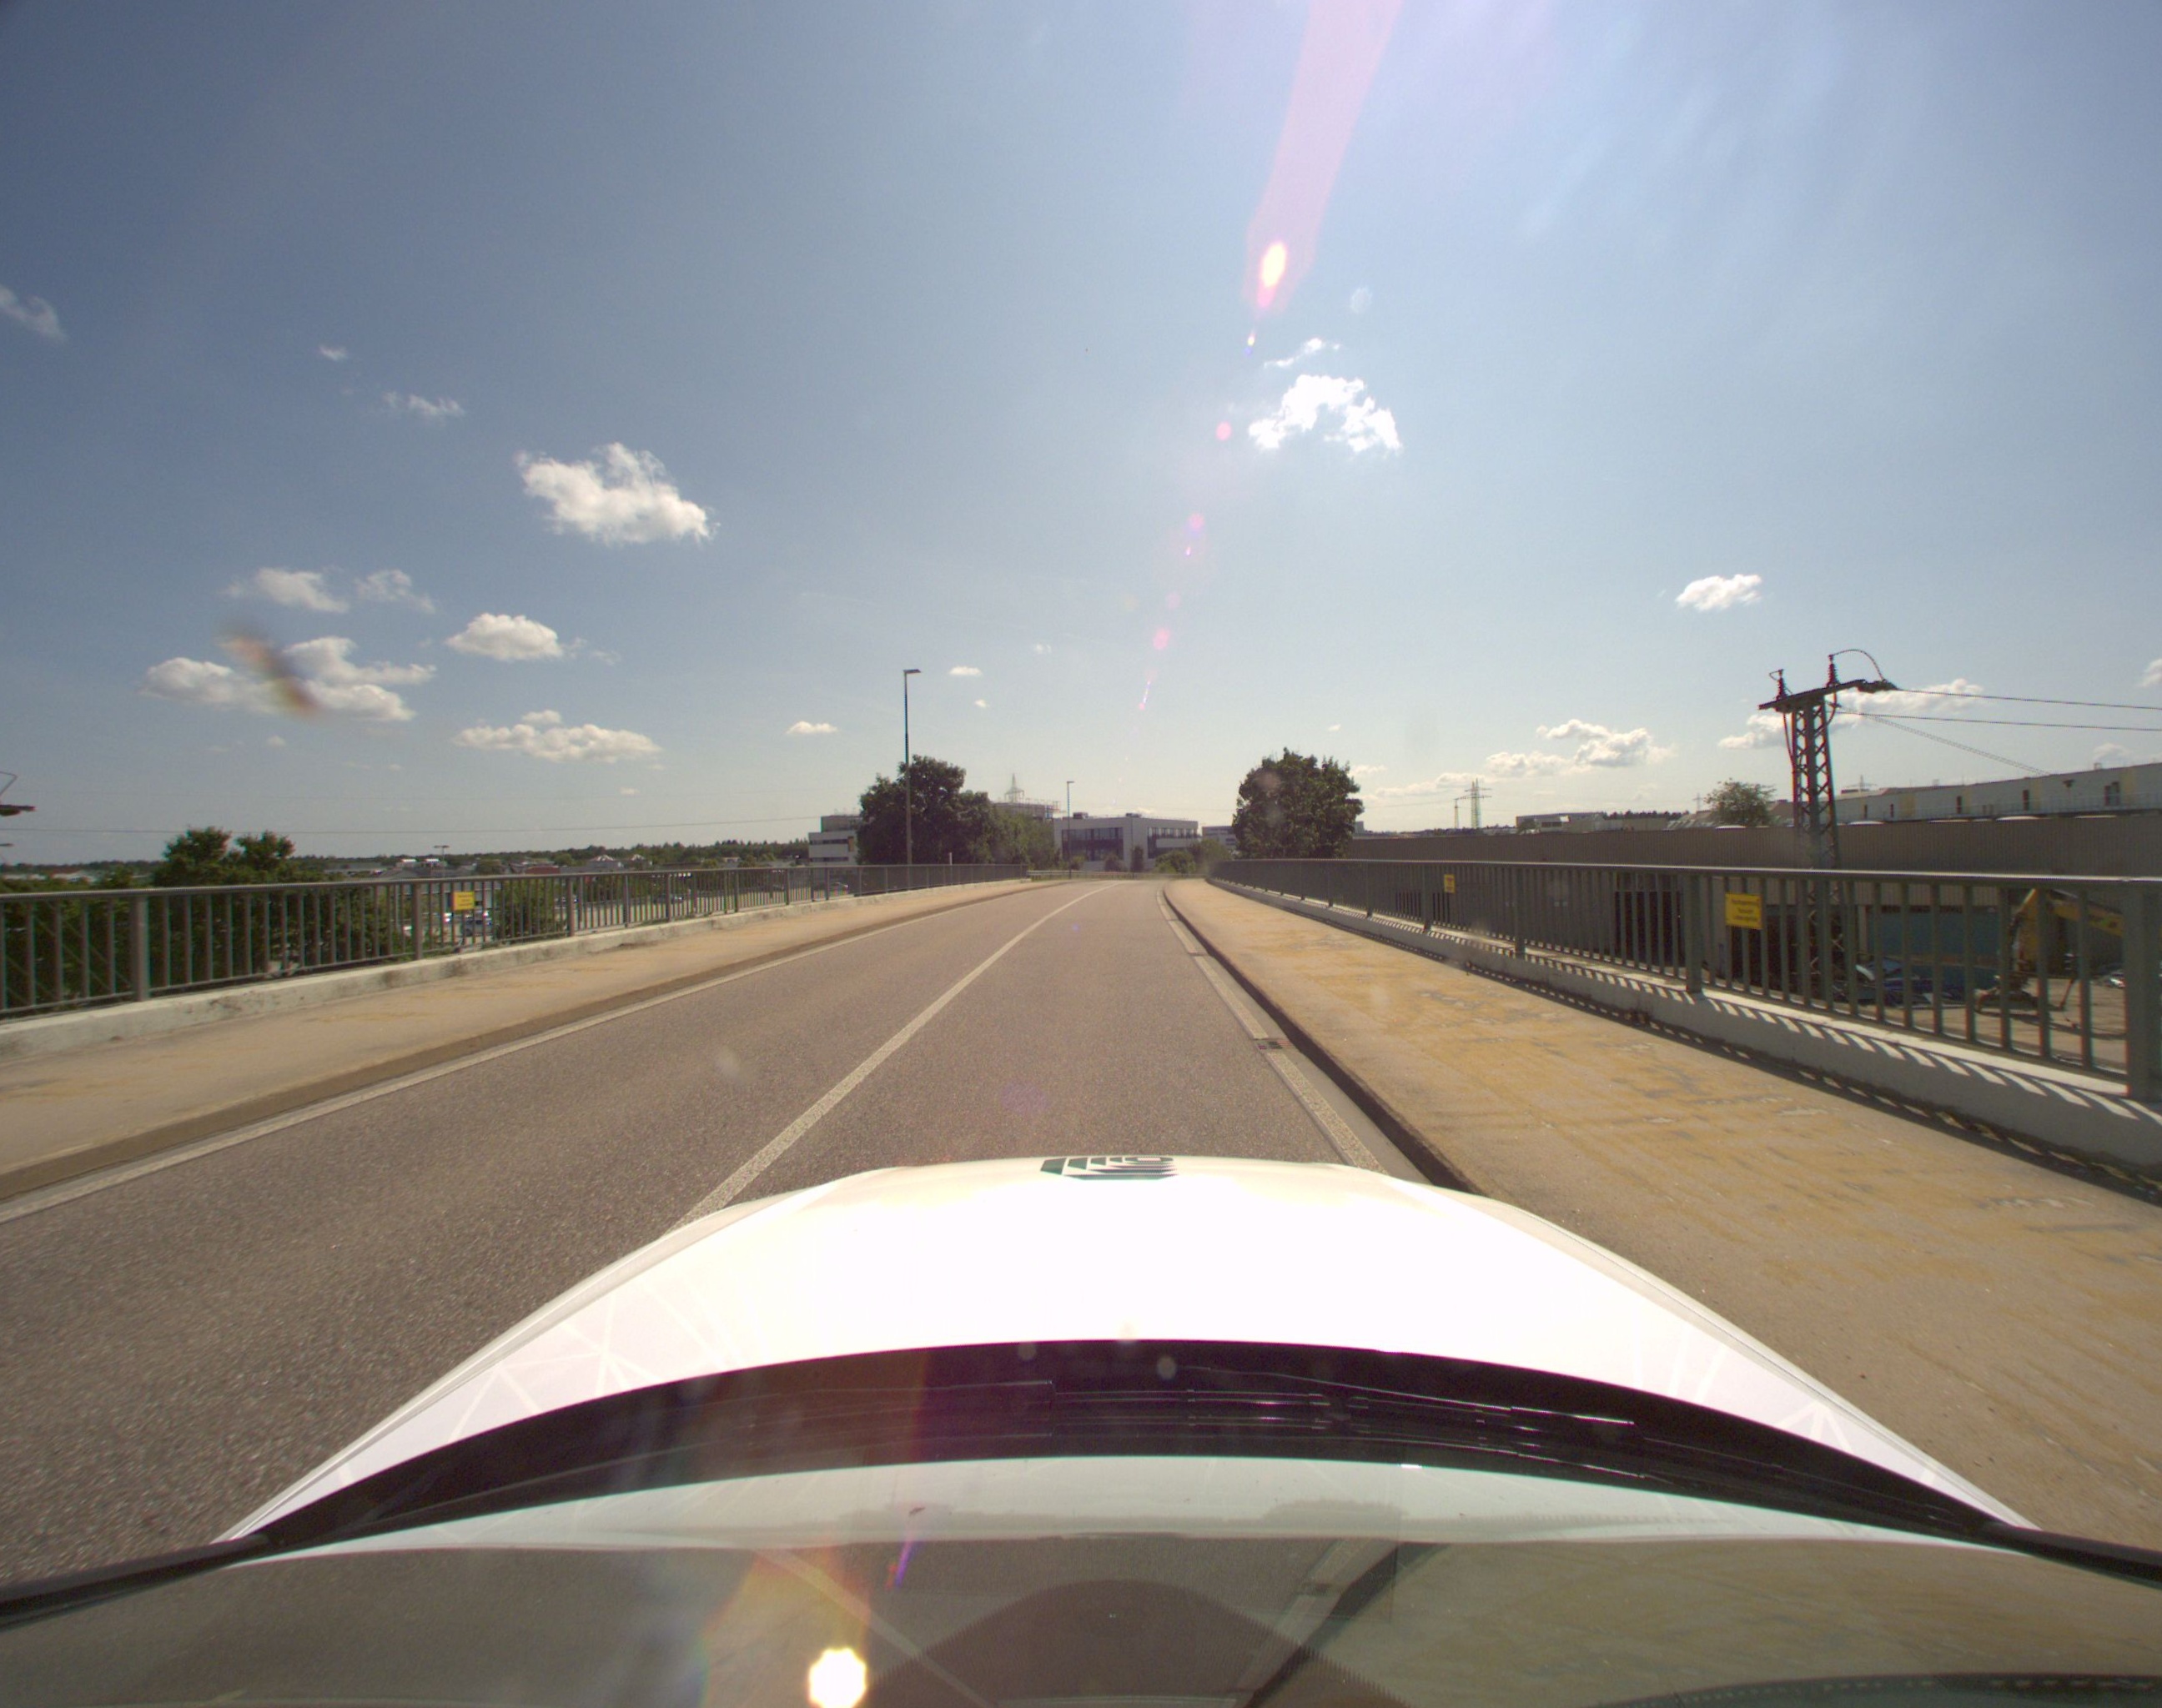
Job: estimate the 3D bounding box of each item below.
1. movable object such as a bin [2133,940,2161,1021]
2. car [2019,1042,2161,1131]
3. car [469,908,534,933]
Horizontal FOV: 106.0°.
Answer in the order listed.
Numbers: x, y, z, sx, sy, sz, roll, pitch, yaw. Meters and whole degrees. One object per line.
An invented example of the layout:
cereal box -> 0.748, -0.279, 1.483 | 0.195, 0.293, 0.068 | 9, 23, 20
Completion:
movable object such as a bin -> 49.976, 5.570, 34.307 | 6.144, 3.289, 3.269 | -1, 1, 29
car -> 31.116, 6.921, 24.069 | 1.985, 1.595, 4.248 | 3, 0, 3
car -> -49.447, 5.645, 69.542 | 3.980, 1.747, 1.904 | -3, -1, -5
